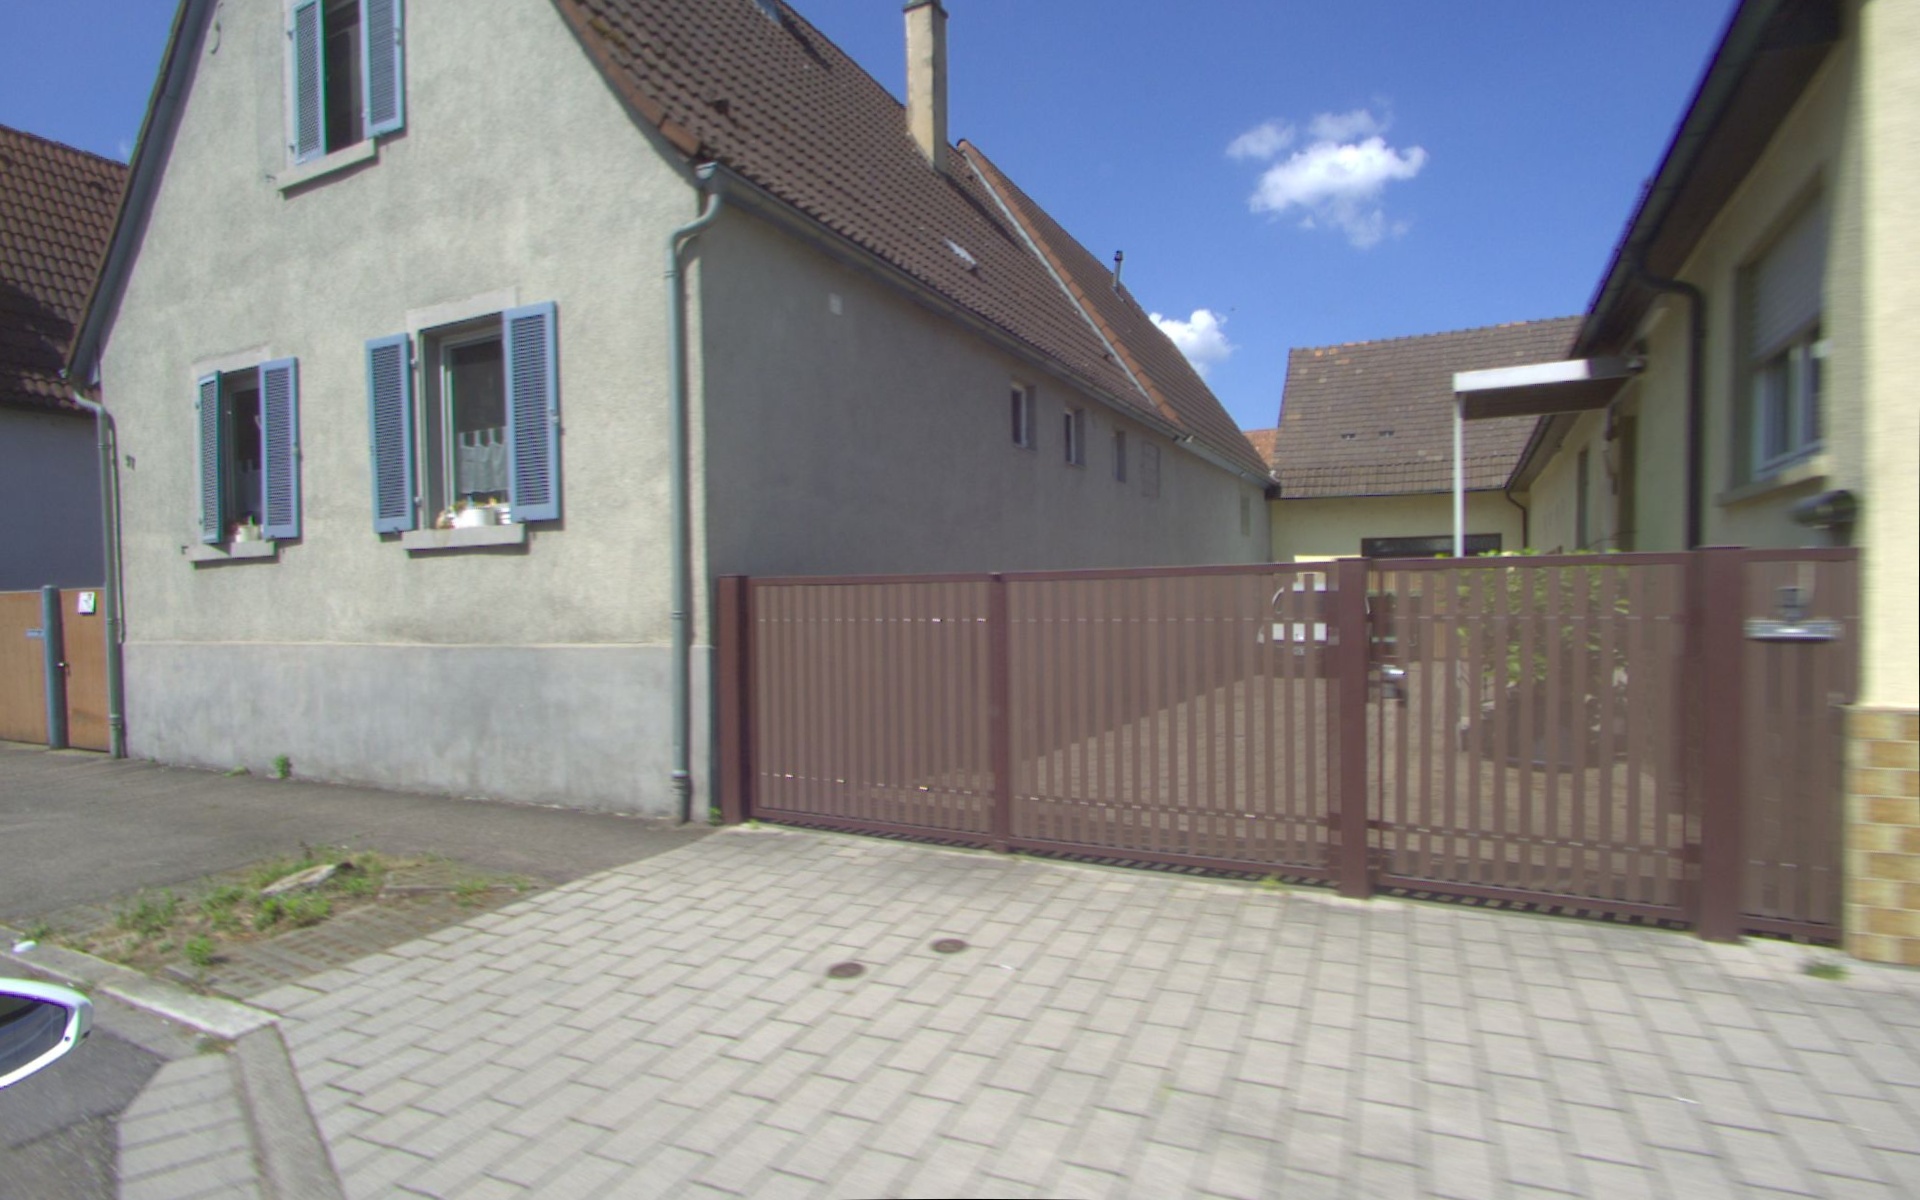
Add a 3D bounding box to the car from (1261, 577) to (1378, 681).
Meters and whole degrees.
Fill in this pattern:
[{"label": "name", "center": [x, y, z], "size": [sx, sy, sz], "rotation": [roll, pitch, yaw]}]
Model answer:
[{"label": "car", "center": [7.629, 0.610, 21.033], "size": [1.718, 1.964, 3.984], "rotation": [-1, -2, 29]}]
